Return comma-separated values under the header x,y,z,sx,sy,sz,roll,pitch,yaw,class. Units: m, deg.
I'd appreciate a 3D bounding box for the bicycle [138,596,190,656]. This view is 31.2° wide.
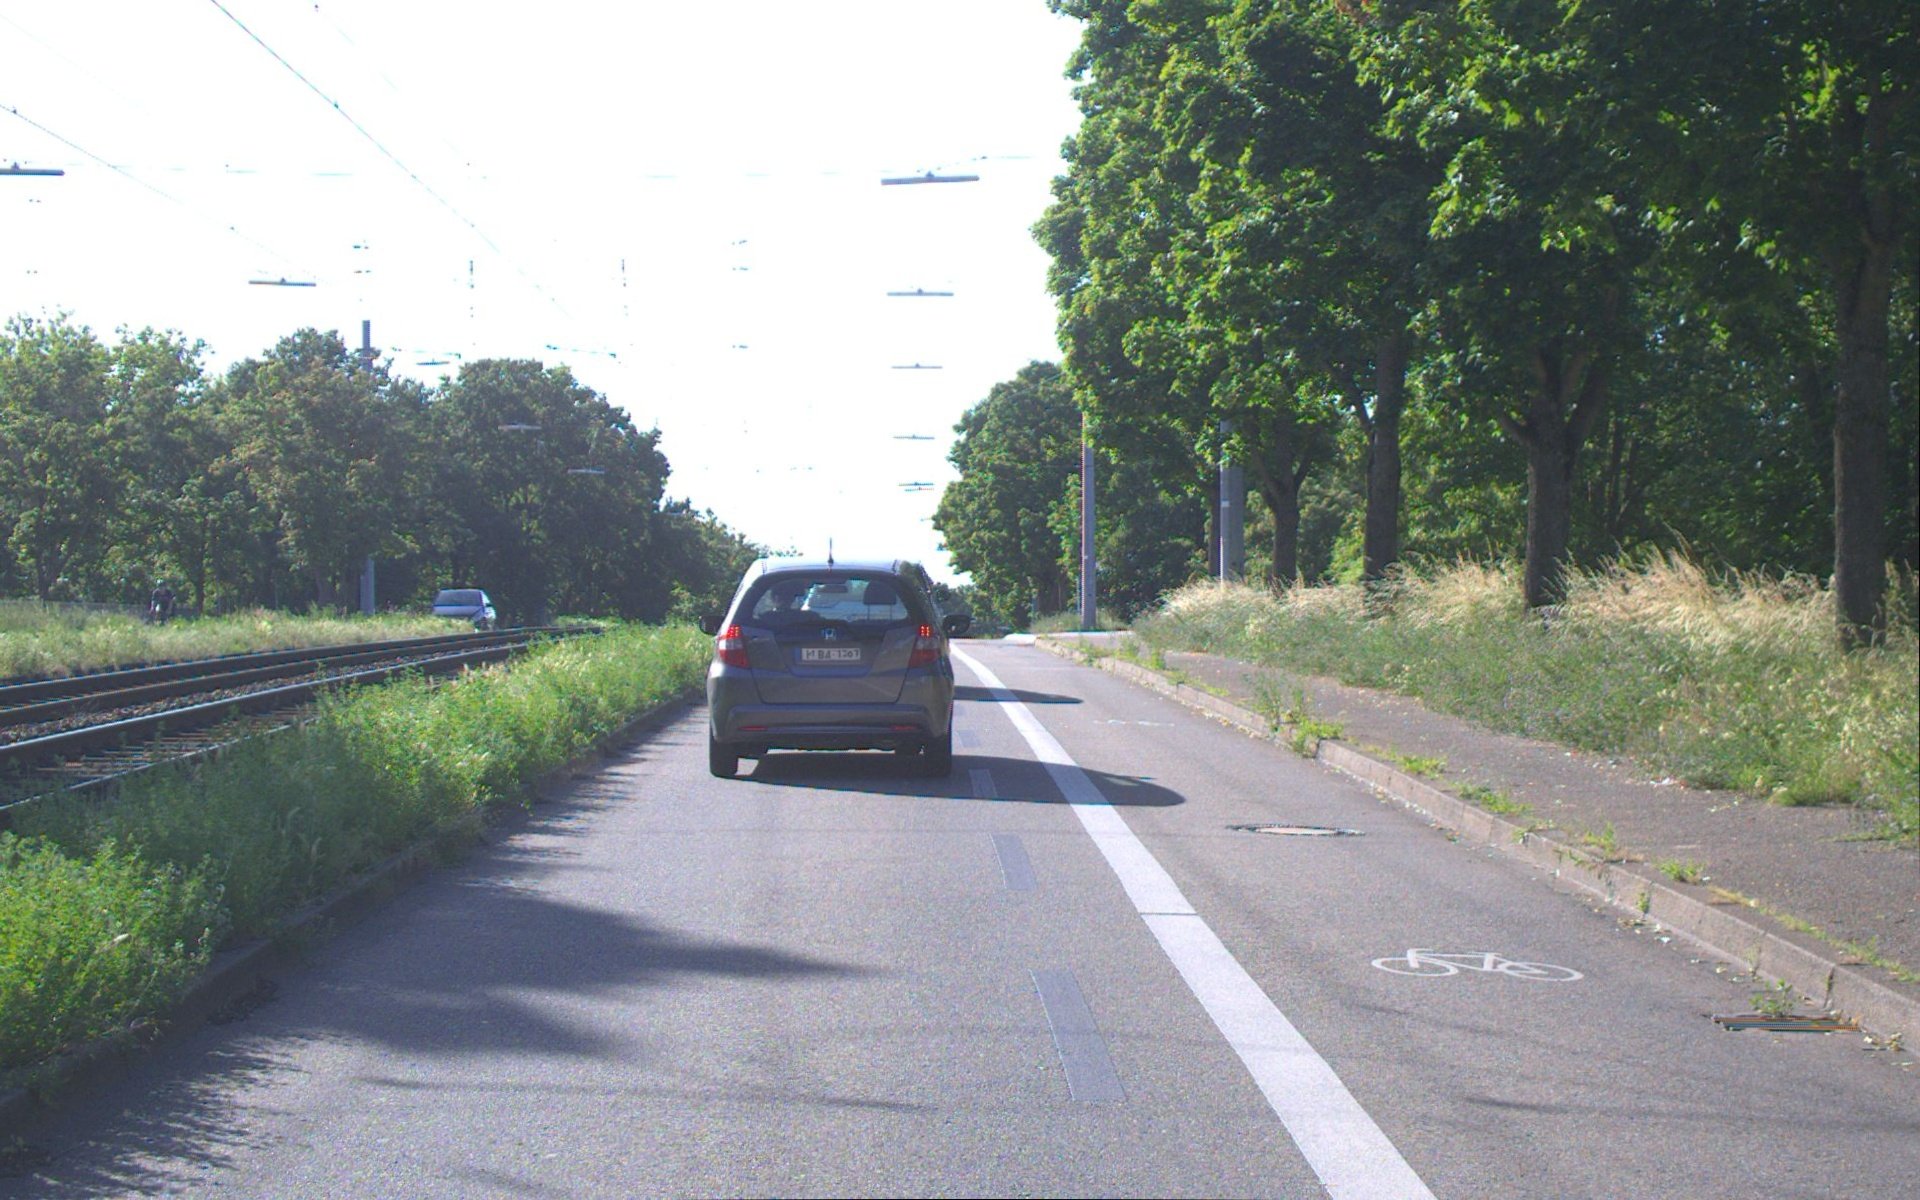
x,y,z,sx,sy,sz,roll,pitch,yaw,class
-17.634,0.567,76.193,0.590,1.257,2.427,1,1,0,bicycle

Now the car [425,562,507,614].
x,y,z,sx,sy,sz,roll,pitch,yaw,class
-14.862,-0.384,103.570,1.809,1.483,4.406,1,1,0,car

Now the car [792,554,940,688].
x,y,z,sx,sy,sz,roll,pitch,yaw,class
-1.089,0.219,41.238,1.654,1.502,3.811,1,1,0,car

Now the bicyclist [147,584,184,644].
x,y,z,sx,sy,sz,roll,pitch,yaw,class
-17.627,0.304,76.298,0.582,1.306,0.987,1,1,0,bicyclist

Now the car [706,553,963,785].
x,y,z,sx,sy,sz,roll,pitch,yaw,class
-0.838,0.436,24.694,1.670,1.502,3.811,1,1,0,car
